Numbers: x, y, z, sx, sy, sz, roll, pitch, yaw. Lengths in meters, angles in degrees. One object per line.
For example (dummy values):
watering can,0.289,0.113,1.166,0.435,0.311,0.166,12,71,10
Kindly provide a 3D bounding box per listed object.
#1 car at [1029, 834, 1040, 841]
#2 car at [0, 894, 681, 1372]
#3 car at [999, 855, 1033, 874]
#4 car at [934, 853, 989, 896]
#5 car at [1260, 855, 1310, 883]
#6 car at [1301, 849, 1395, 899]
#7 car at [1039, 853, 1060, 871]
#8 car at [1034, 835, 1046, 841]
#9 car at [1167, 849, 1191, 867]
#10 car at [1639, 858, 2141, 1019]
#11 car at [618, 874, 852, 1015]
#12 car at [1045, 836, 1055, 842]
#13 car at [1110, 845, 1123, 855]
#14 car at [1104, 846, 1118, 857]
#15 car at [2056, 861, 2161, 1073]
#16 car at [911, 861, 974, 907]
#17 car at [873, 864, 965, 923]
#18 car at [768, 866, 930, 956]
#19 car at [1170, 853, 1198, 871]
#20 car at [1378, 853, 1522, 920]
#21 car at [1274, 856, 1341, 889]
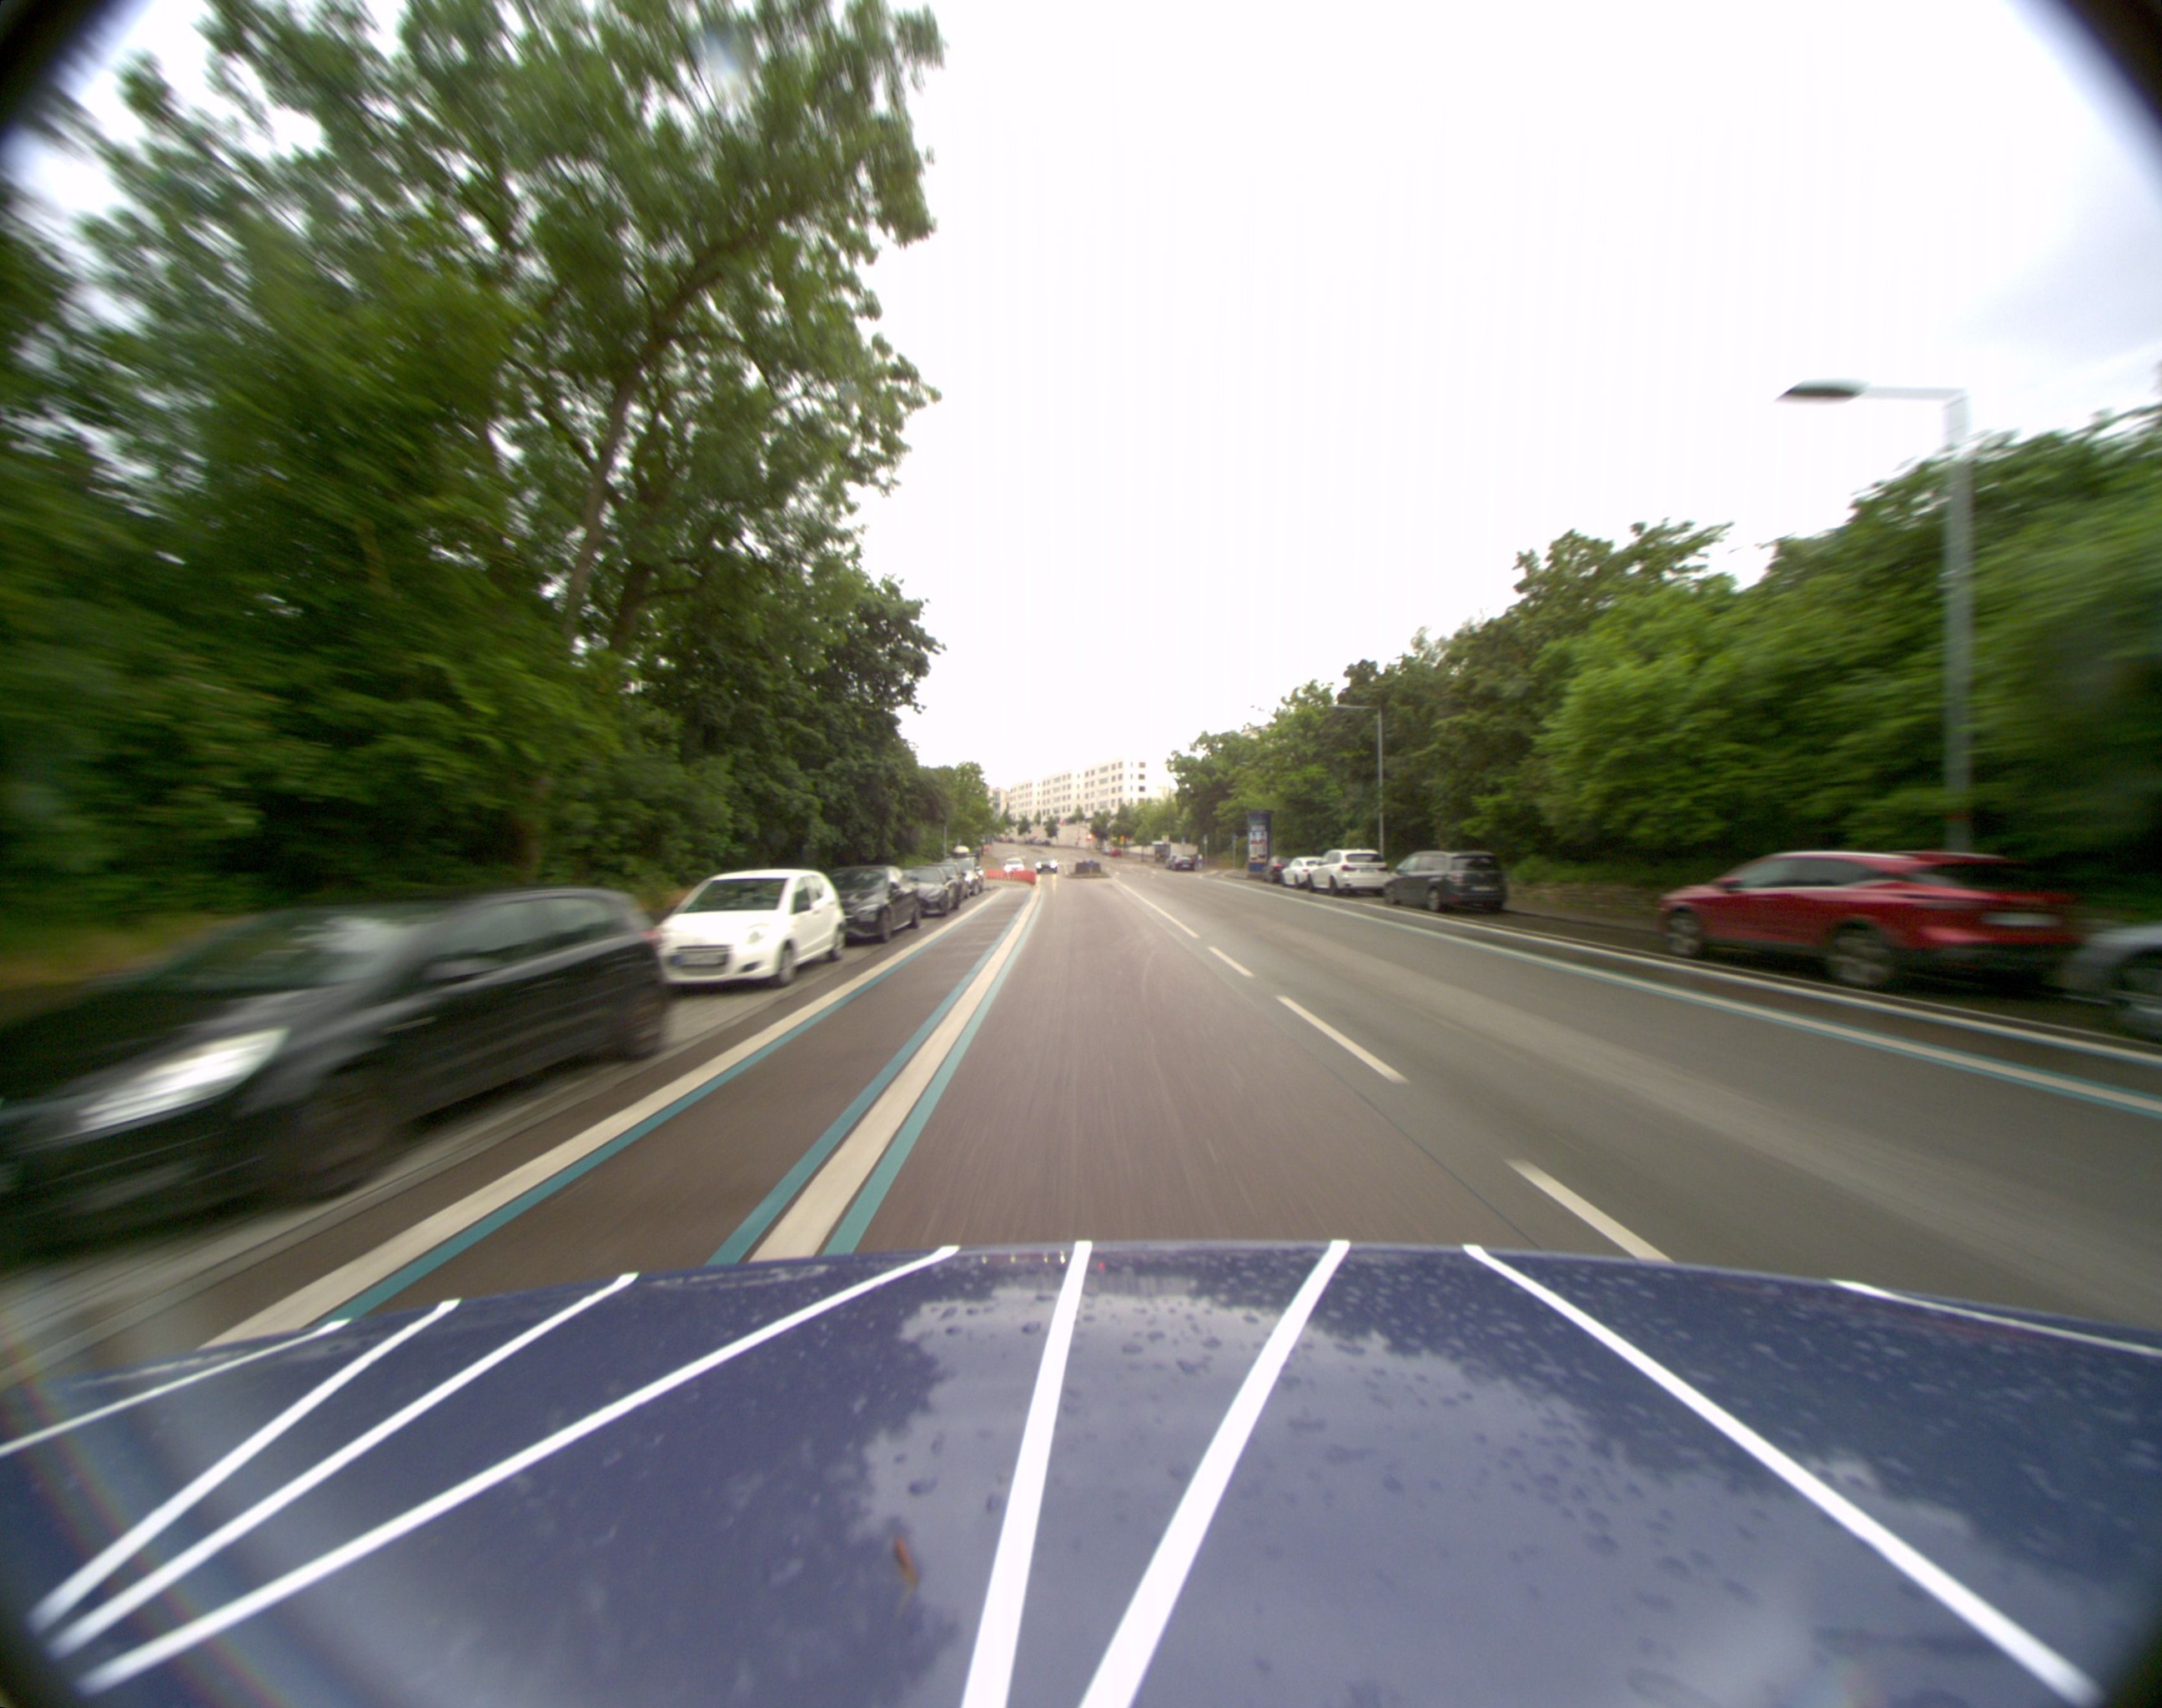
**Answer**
car,-12.985,-4.593,211.150,1.792,1.623,3.990,0,3,-24
car,-4.353,1.110,4.603,1.663,1.456,3.900,-3,0,1
car,-5.779,0.917,66.759,1.930,1.652,3.993,-1,0,-21
car,-5.027,0.831,32.431,1.827,1.605,4.250,-3,1,-3
car,10.993,0.770,41.186,1.753,1.437,4.588,-1,0,4
car,10.298,0.707,29.734,1.998,1.755,4.960,-1,0,1
car,-3.121,0.785,74.631,1.830,1.584,3.997,-2,1,-5
car,-11.094,-4.290,206.958,1.866,1.470,3.990,-1,2,-24
car,9.765,0.355,76.085,1.845,1.580,4.928,-2,1,1
car,9.935,0.876,10.037,1.923,1.607,4.490,0,0,2
car,-4.460,1.070,10.423,1.564,1.452,3.675,-2,0,-1
car,-8.187,-4.028,201.952,1.683,1.451,2.689,0,3,-25
car,6.096,-0.632,131.400,1.670,1.578,4.212,0,2,-7
car,5.390,-0.445,137.452,1.769,1.644,4.878,-2,3,-7
car,9.671,0.901,4.456,1.998,1.690,4.615,-1,0,0
car,-4.912,1.022,27.368,1.701,1.404,3.702,-3,1,-3
car,-4.520,1.048,21.847,1.858,1.391,4.384,-2,1,-3
car,-4.555,1.046,15.765,1.861,1.446,4.750,-2,0,0
car,9.426,0.714,69.993,1.911,1.406,4.782,-2,1,1
car,10.230,0.815,21.505,1.736,1.639,4.570,-1,0,-2
car,10.478,0.811,35.476,1.723,1.451,4.708,-1,0,1
